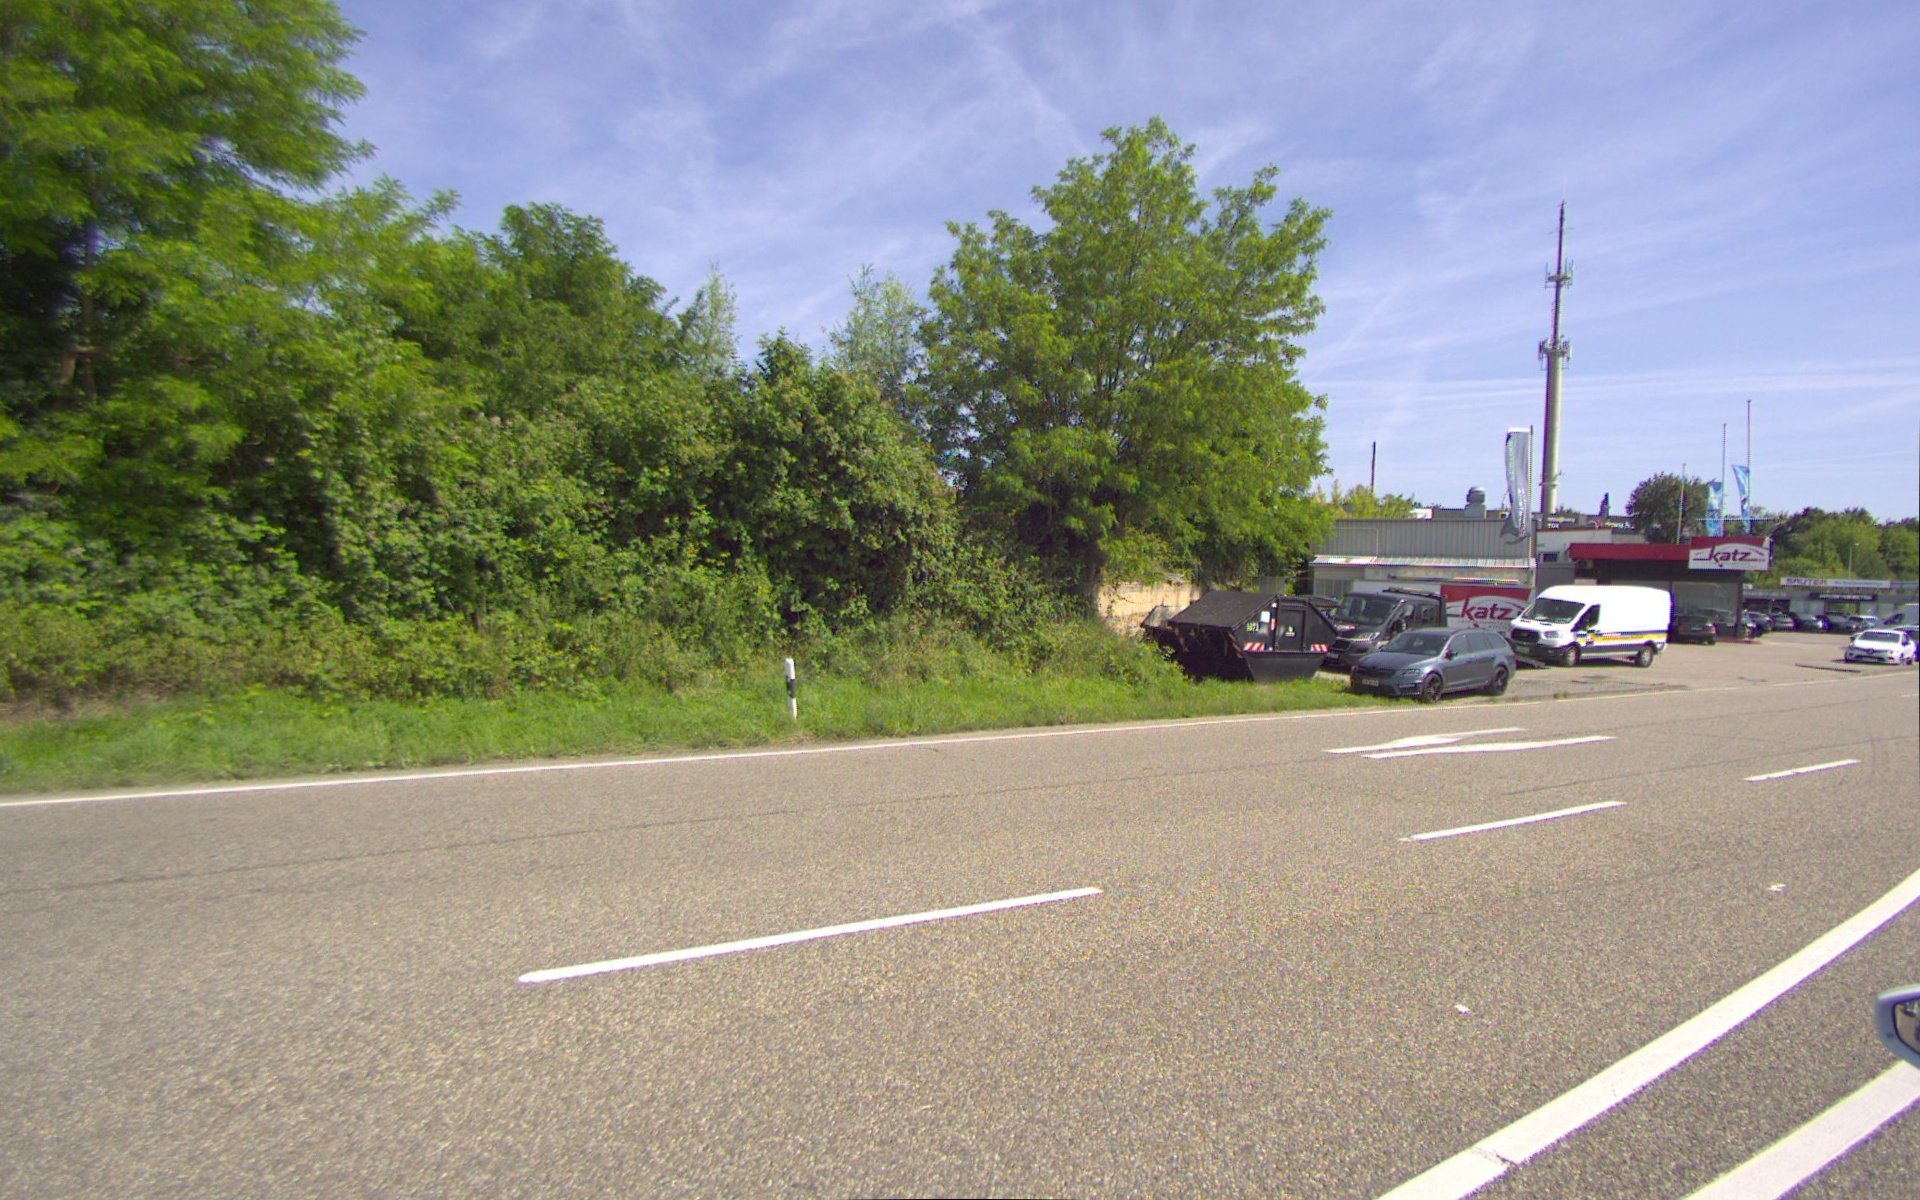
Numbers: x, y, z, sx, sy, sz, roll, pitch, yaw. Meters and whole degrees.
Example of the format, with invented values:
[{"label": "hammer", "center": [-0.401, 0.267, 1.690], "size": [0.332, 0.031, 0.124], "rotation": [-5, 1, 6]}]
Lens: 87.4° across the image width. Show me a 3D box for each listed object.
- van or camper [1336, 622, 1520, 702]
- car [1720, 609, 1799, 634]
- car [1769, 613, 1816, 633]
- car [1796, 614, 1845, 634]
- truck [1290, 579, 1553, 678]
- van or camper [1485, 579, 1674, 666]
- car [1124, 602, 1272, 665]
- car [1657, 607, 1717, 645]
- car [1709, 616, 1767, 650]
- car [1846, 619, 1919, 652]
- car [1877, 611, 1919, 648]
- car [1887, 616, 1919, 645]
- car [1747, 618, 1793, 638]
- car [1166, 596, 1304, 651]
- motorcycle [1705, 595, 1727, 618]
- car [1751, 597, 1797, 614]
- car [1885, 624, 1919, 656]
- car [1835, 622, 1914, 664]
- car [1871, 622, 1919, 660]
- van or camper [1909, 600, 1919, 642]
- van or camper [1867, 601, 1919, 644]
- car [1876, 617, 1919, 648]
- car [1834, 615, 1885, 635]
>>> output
[{"label": "van or camper", "center": [10.474, 1.329, 22.388], "size": [4.420, 1.545, 1.630], "rotation": [1, 1, -34]}, {"label": "car", "center": [53.522, 1.413, 67.349], "size": [3.879, 1.553, 1.766], "rotation": [1, 0, 29]}, {"label": "car", "center": [69.754, 1.887, 84.264], "size": [1.734, 1.609, 3.830], "rotation": [1, 0, 18]}, {"label": "car", "center": [71.692, 1.951, 83.766], "size": [1.734, 1.609, 3.830], "rotation": [1, 0, 18]}, {"label": "truck", "center": [13.328, 0.784, 28.642], "size": [8.706, 2.328, 2.317], "rotation": [1, 5, -33]}, {"label": "van or camper", "center": [20.138, 0.729, 32.634], "size": [5.867, 2.533, 2.148], "rotation": [1, 4, -24]}, {"label": "car", "center": [6.528, 0.881, 27.737], "size": [3.621, 1.531, 1.707], "rotation": [2, 1, 44]}, {"label": "car", "center": [36.373, 1.274, 50.358], "size": [1.826, 1.525, 4.387], "rotation": [4, 4, 29]}, {"label": "car", "center": [45.947, 1.947, 59.410], "size": [1.794, 1.696, 4.123], "rotation": [7, 2, 26]}, {"label": "car", "center": [46.416, 1.746, 49.599], "size": [1.831, 1.546, 3.764], "rotation": [1, 0, -40]}, {"label": "car", "center": [50.313, 1.629, 52.020], "size": [1.792, 1.740, 3.852], "rotation": [1, 4, -40]}, {"label": "car", "center": [56.332, 1.877, 57.601], "size": [1.757, 1.505, 4.421], "rotation": [1, 4, -40]}, {"label": "car", "center": [67.605, 2.315, 83.917], "size": [1.734, 1.609, 3.830], "rotation": [1, 0, 18]}, {"label": "car", "center": [8.279, 0.666, 30.322], "size": [3.611, 1.488, 1.734], "rotation": [2, 0, 35]}, {"label": "motorcycle", "center": [42.614, 0.375, 56.660], "size": [0.759, 1.278, 2.050], "rotation": [1, 0, 31]}, {"label": "car", "center": [75.427, 0.480, 93.149], "size": [1.701, 1.470, 3.751], "rotation": [2, 0, 10]}, {"label": "car", "center": [48.713, 2.026, 50.043], "size": [1.777, 1.546, 3.677], "rotation": [1, 0, -40]}, {"label": "car", "center": [38.815, 1.798, 42.600], "size": [3.963, 1.639, 1.766], "rotation": [1, 0, -37]}, {"label": "car", "center": [44.388, 1.898, 47.057], "size": [3.746, 1.514, 1.766], "rotation": [1, 4, -37]}, {"label": "van or camper", "center": [66.071, 1.443, 65.917], "size": [2.190, 2.768, 5.206], "rotation": [1, 0, -37]}, {"label": "van or camper", "center": [66.613, 1.564, 69.213], "size": [2.269, 2.912, 5.846], "rotation": [0, 1, -38]}, {"label": "car", "center": [52.525, 1.859, 54.250], "size": [1.821, 1.505, 4.240], "rotation": [1, 4, -40]}, {"label": "car", "center": [74.472, 2.044, 83.209], "size": [1.734, 1.609, 3.830], "rotation": [1, 0, 18]}]
